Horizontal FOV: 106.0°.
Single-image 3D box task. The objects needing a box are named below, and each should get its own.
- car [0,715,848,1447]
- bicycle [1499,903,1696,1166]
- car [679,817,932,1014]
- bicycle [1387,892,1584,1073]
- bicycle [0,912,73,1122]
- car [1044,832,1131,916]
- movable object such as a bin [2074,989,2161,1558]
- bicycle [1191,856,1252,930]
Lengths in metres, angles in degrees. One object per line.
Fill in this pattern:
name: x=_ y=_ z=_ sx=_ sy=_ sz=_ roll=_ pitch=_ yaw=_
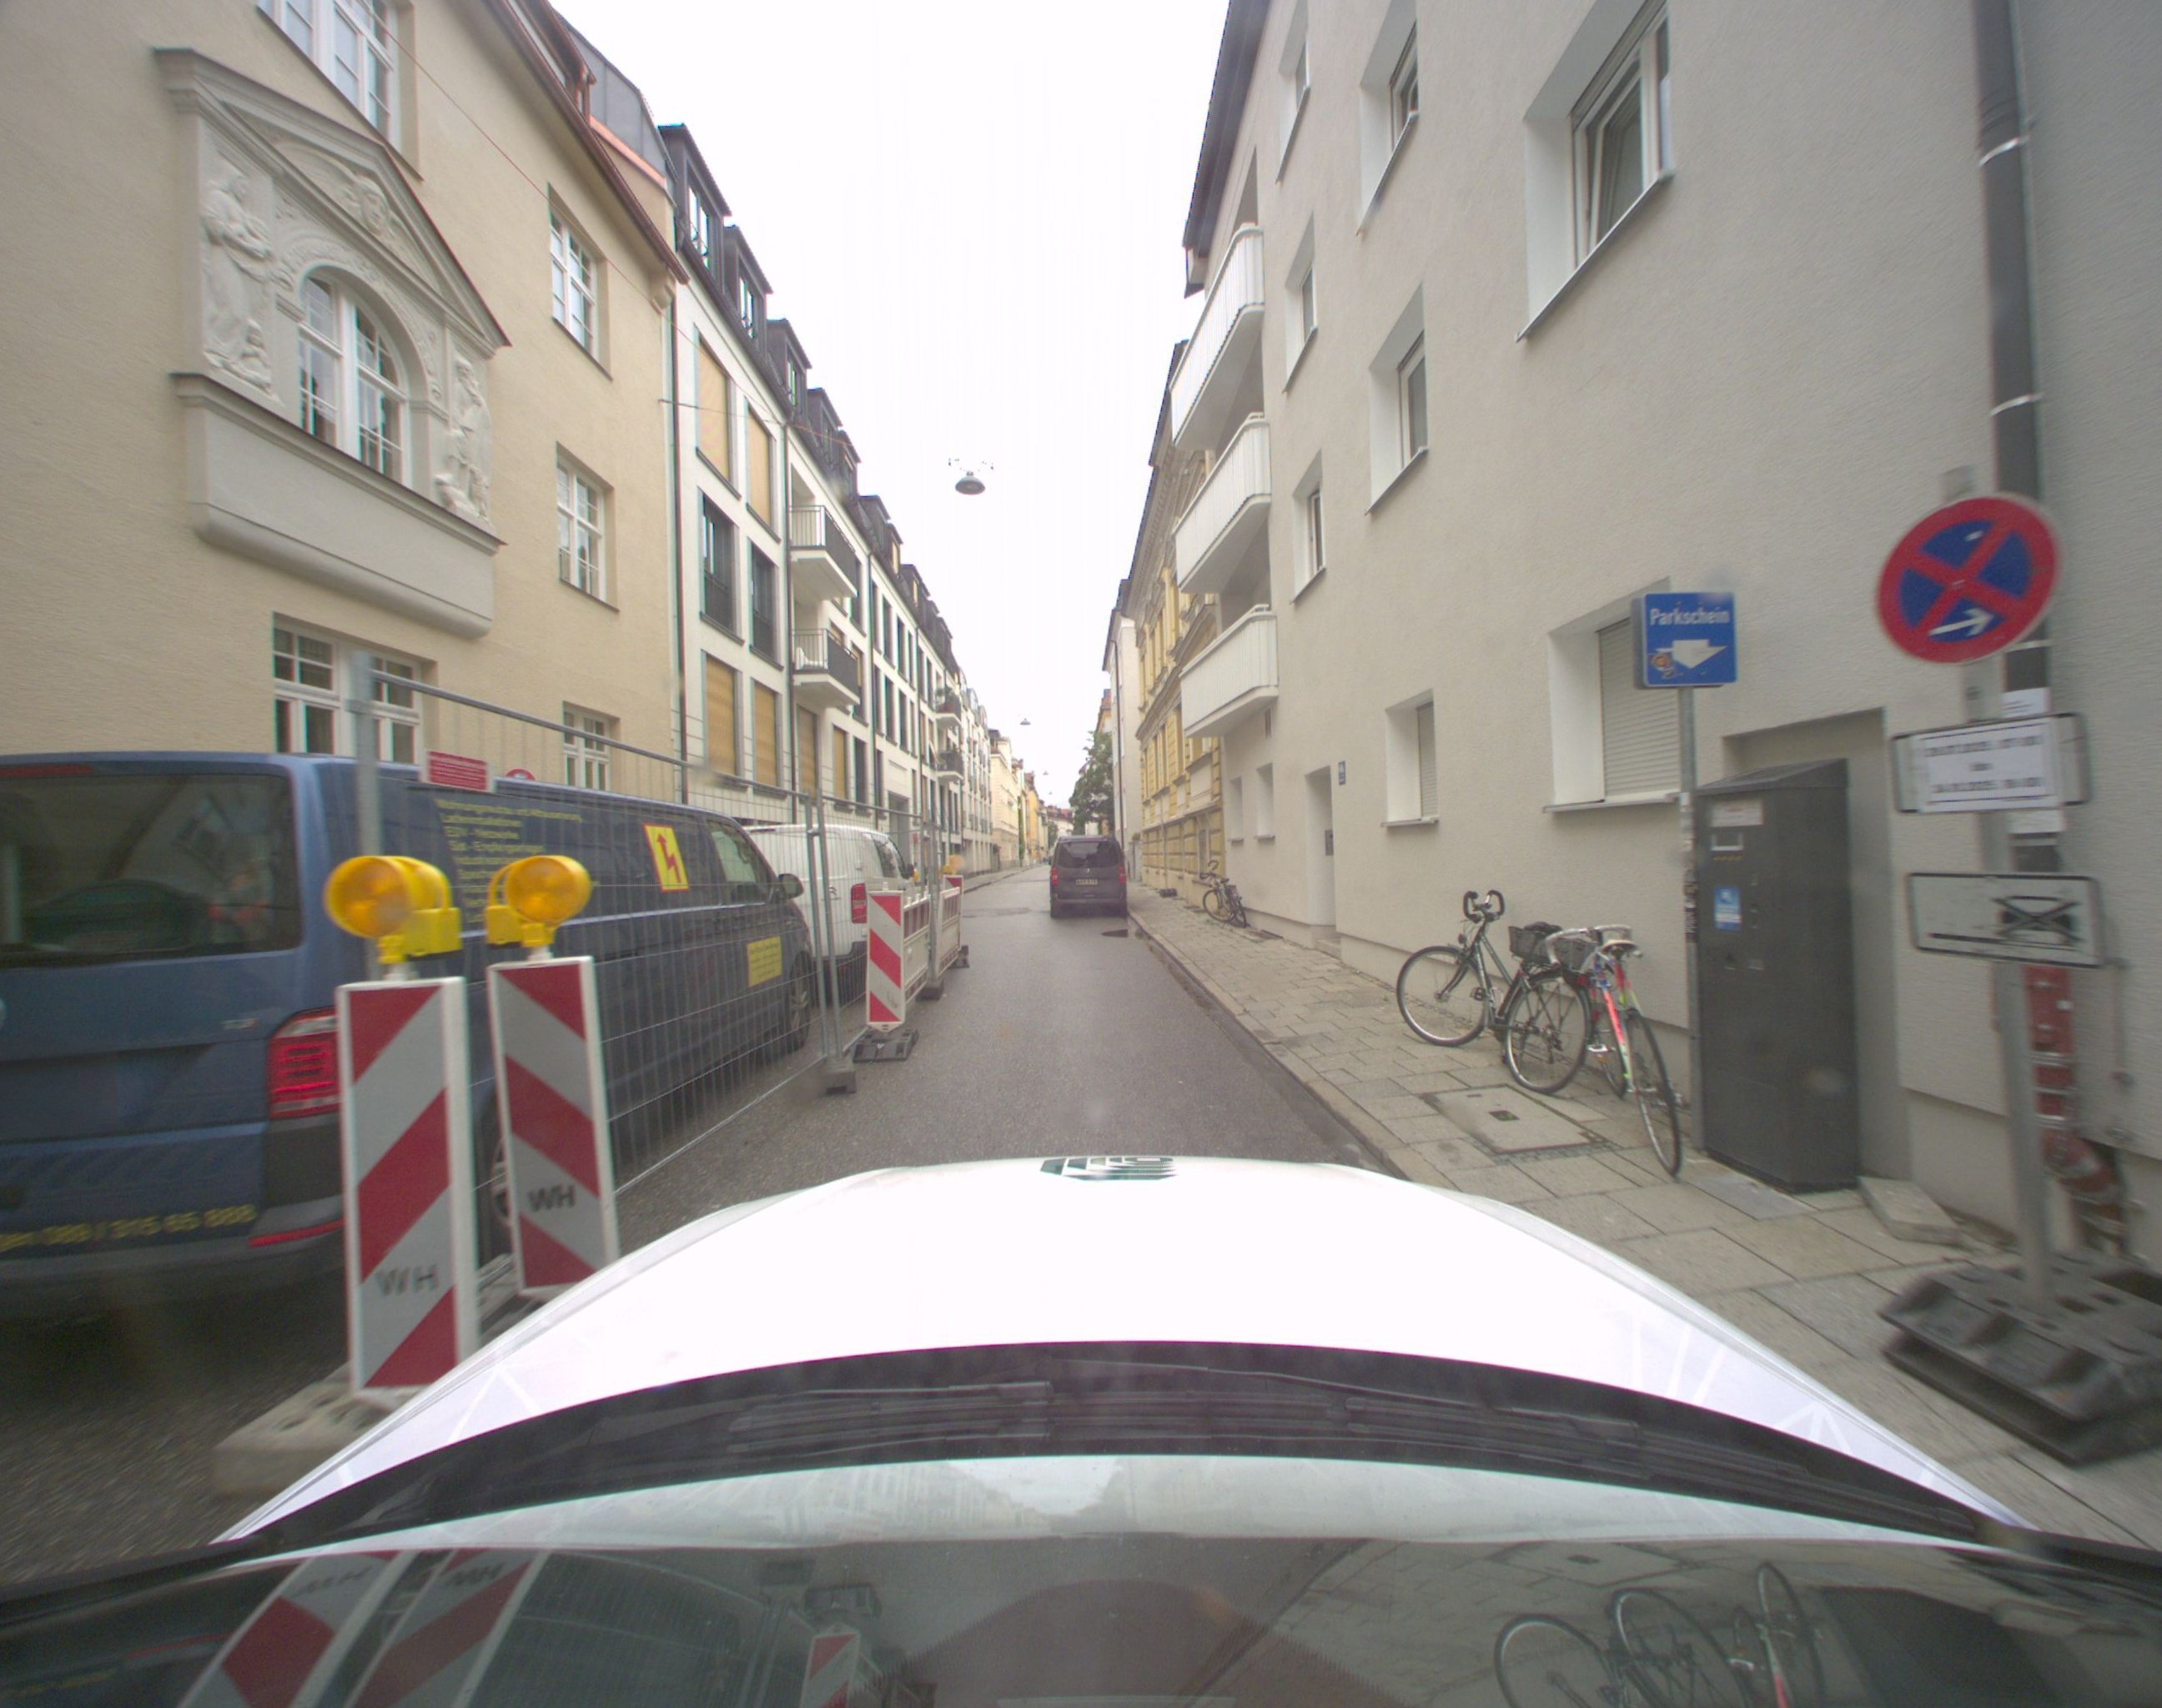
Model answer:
car: x=-3.063 y=0.641 z=4.913 sx=1.722 sy=1.897 sz=5.505 roll=-4 pitch=0 yaw=-1
bicycle: x=2.543 y=0.811 z=4.149 sx=0.279 sy=0.991 sz=1.438 roll=-6 pitch=0 yaw=12
car: x=-3.223 y=0.629 z=10.735 sx=1.901 sy=1.897 sz=5.080 roll=-2 pitch=0 yaw=-4
bicycle: x=2.653 y=0.792 z=5.493 sx=0.404 sy=0.991 sz=1.324 roll=-5 pitch=0 yaw=-10
bicycle: x=-6.350 y=0.969 z=4.010 sx=0.381 sy=1.188 sz=2.129 roll=-1 pitch=1 yaw=-9
car: x=0.077 y=0.461 z=21.253 sx=1.988 sy=1.932 sz=4.656 roll=-1 pitch=0 yaw=-2
movable object such as a bin: x=2.611 y=0.773 z=1.188 sx=1.205 sy=1.095 sz=0.791 roll=-6 pitch=0 yaw=6
bicycle: x=2.465 y=0.655 z=14.487 sx=0.636 sy=1.153 sz=1.914 roll=-5 pitch=1 yaw=-1
